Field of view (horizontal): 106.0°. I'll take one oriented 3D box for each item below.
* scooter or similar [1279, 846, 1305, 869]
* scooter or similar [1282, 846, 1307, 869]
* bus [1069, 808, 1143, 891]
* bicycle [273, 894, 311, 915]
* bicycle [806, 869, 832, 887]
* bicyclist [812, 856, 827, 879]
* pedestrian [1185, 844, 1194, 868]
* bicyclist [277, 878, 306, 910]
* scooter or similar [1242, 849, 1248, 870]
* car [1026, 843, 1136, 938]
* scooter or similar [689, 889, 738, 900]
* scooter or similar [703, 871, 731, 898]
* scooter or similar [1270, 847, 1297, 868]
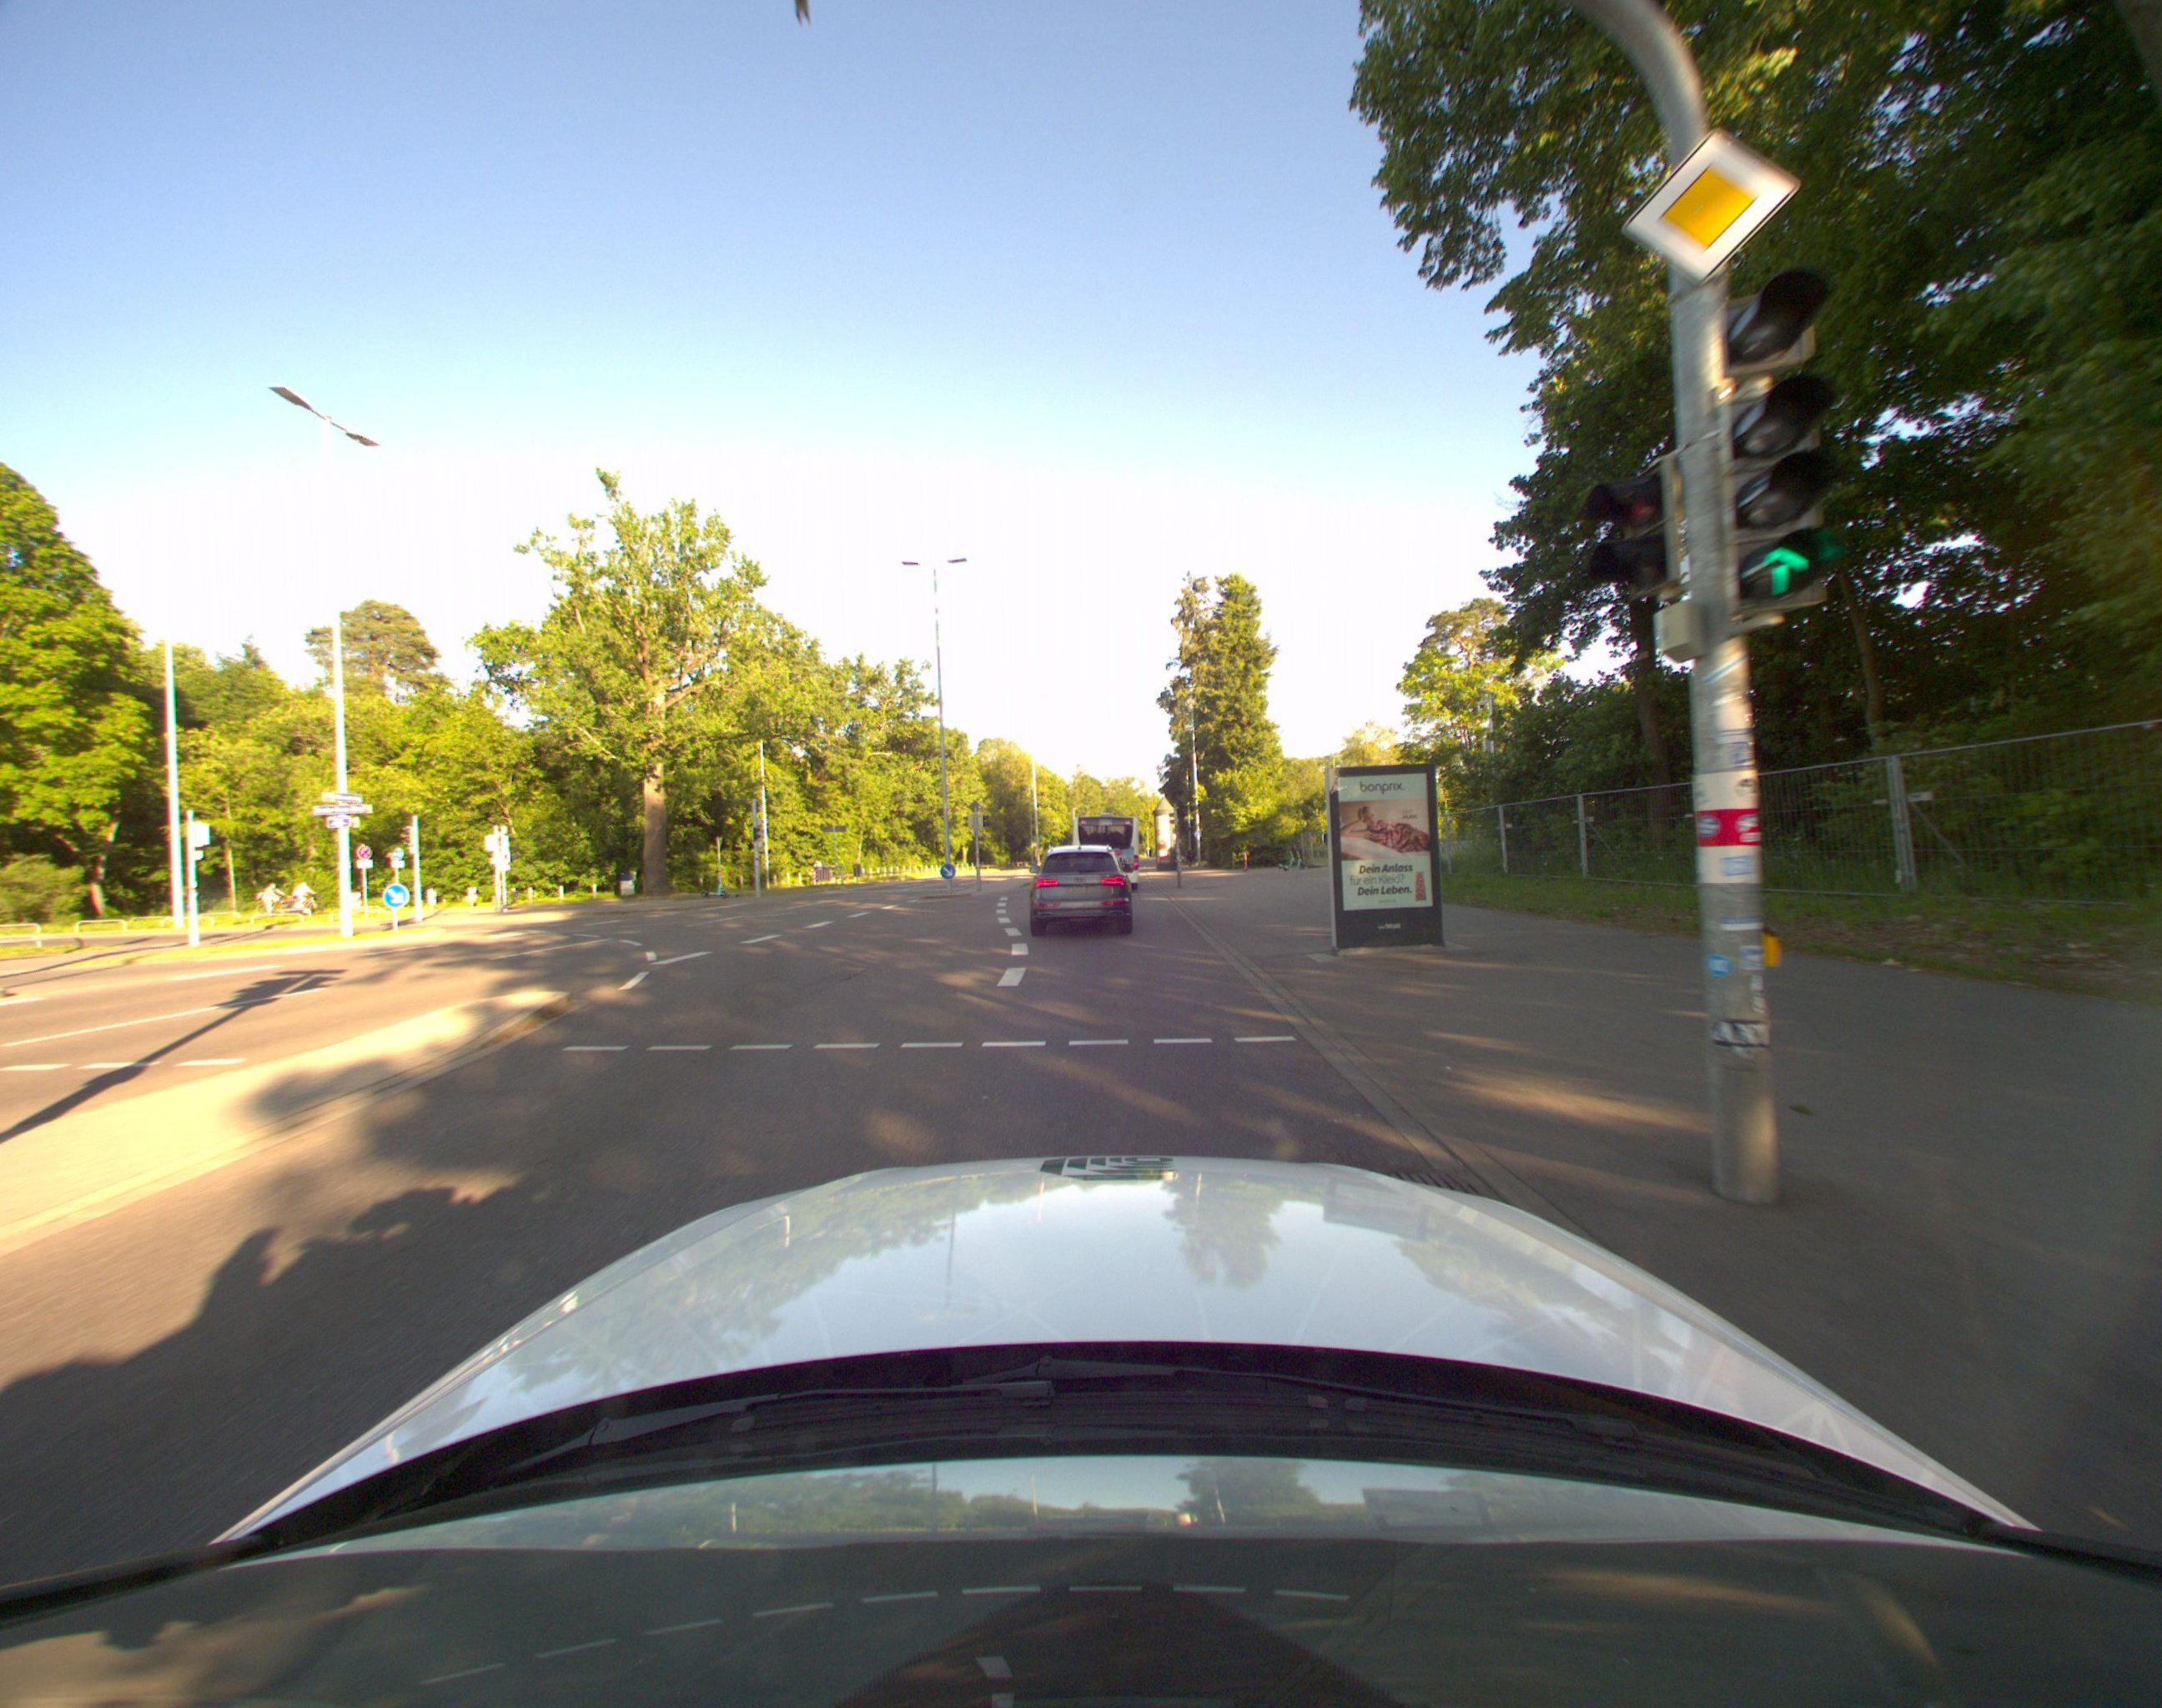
[{"bbox_3d":[11.372,0.202,43.882,1.258,1.147,0.395,-4,-2,9],"label":"scooter or similar"},{"bbox_3d":[11.671,0.189,44.519,1.233,1.167,0.396,-4,-2,27],"label":"scooter or similar"},{"bbox_3d":[1.126,-0.154,36.443,2.679,3.042,12.046,-1,0,2],"label":"bus"},{"bbox_3d":[-38.563,2.442,39.815,1.571,0.977,0.789,-1,0,23],"label":"bicycle"},{"bbox_3d":[-18.770,1.725,58.375,0.674,1.154,1.995,-1,2,20],"label":"bicycle"},{"bbox_3d":[-18.756,0.968,58.415,0.557,1.551,0.804,-1,2,20],"label":"bicyclist"},{"bbox_3d":[8.020,0.144,60.149,0.622,1.688,0.885,-1,0,12],"label":"pedestrian"},{"bbox_3d":[-38.645,1.951,39.859,0.790,1.483,0.734,-1,0,23],"label":"bicyclist"},{"bbox_3d":[9.507,0.305,47.266,0.279,1.171,1.413,-4,0,11],"label":"scooter or similar"},{"bbox_3d":[0.072,0.629,16.388,1.886,1.605,4.546,-1,0,2],"label":"car"},{"bbox_3d":[-15.660,1.711,34.745,1.398,0.339,1.264,-2,1,10],"label":"scooter or similar"},{"bbox_3d":[-16.292,1.367,36.486,1.060,1.146,0.395,-2,1,10],"label":"scooter or similar"},{"bbox_3d":[11.826,0.191,47.560,1.424,1.167,0.396,-4,-2,31],"label":"scooter or similar"}]
